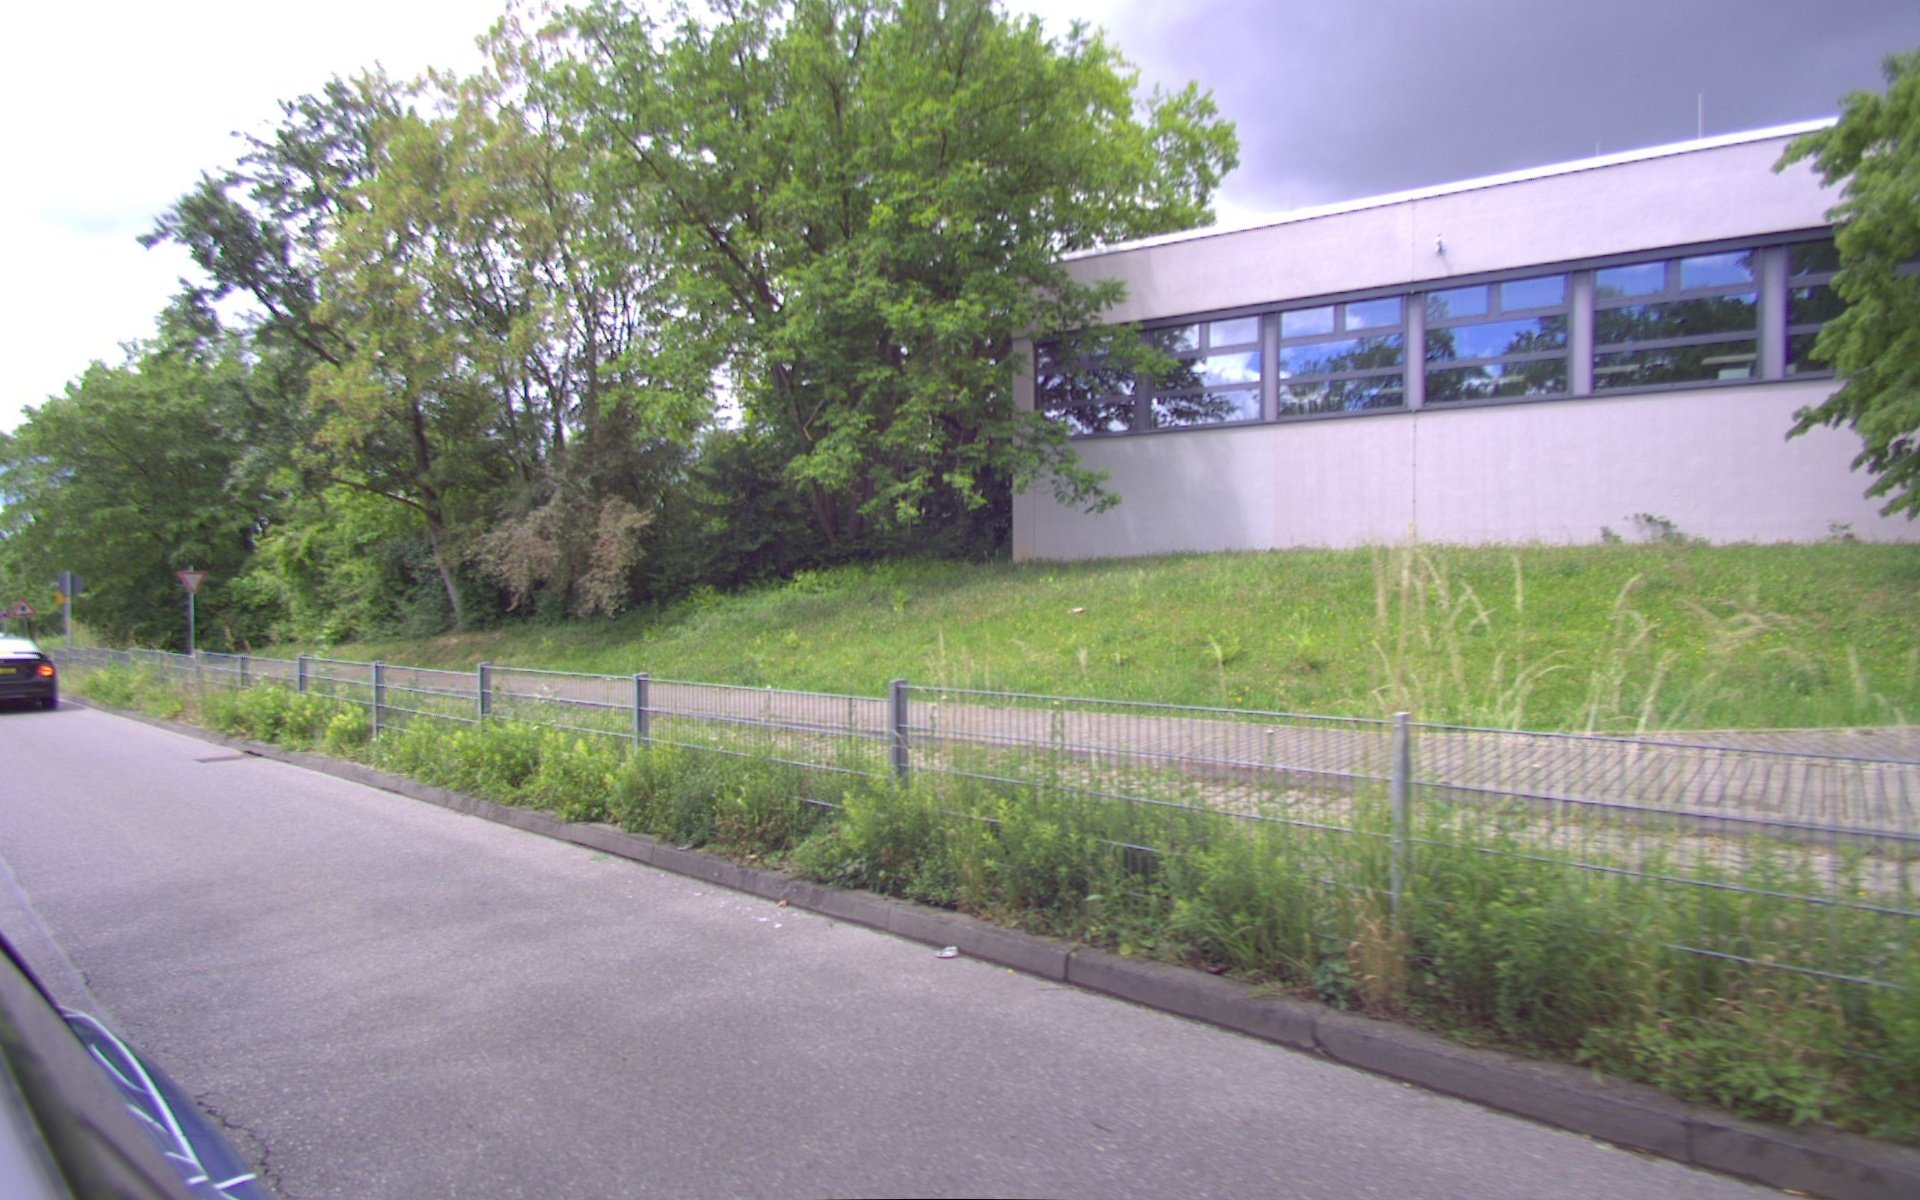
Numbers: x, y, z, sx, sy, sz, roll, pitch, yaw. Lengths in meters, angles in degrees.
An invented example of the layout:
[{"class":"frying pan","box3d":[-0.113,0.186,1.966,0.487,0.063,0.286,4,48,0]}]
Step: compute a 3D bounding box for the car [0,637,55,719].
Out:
[{"class":"car","box3d":[-17.966,1.403,18.591,3.999,1.342,1.599,-1,0,42]}]
